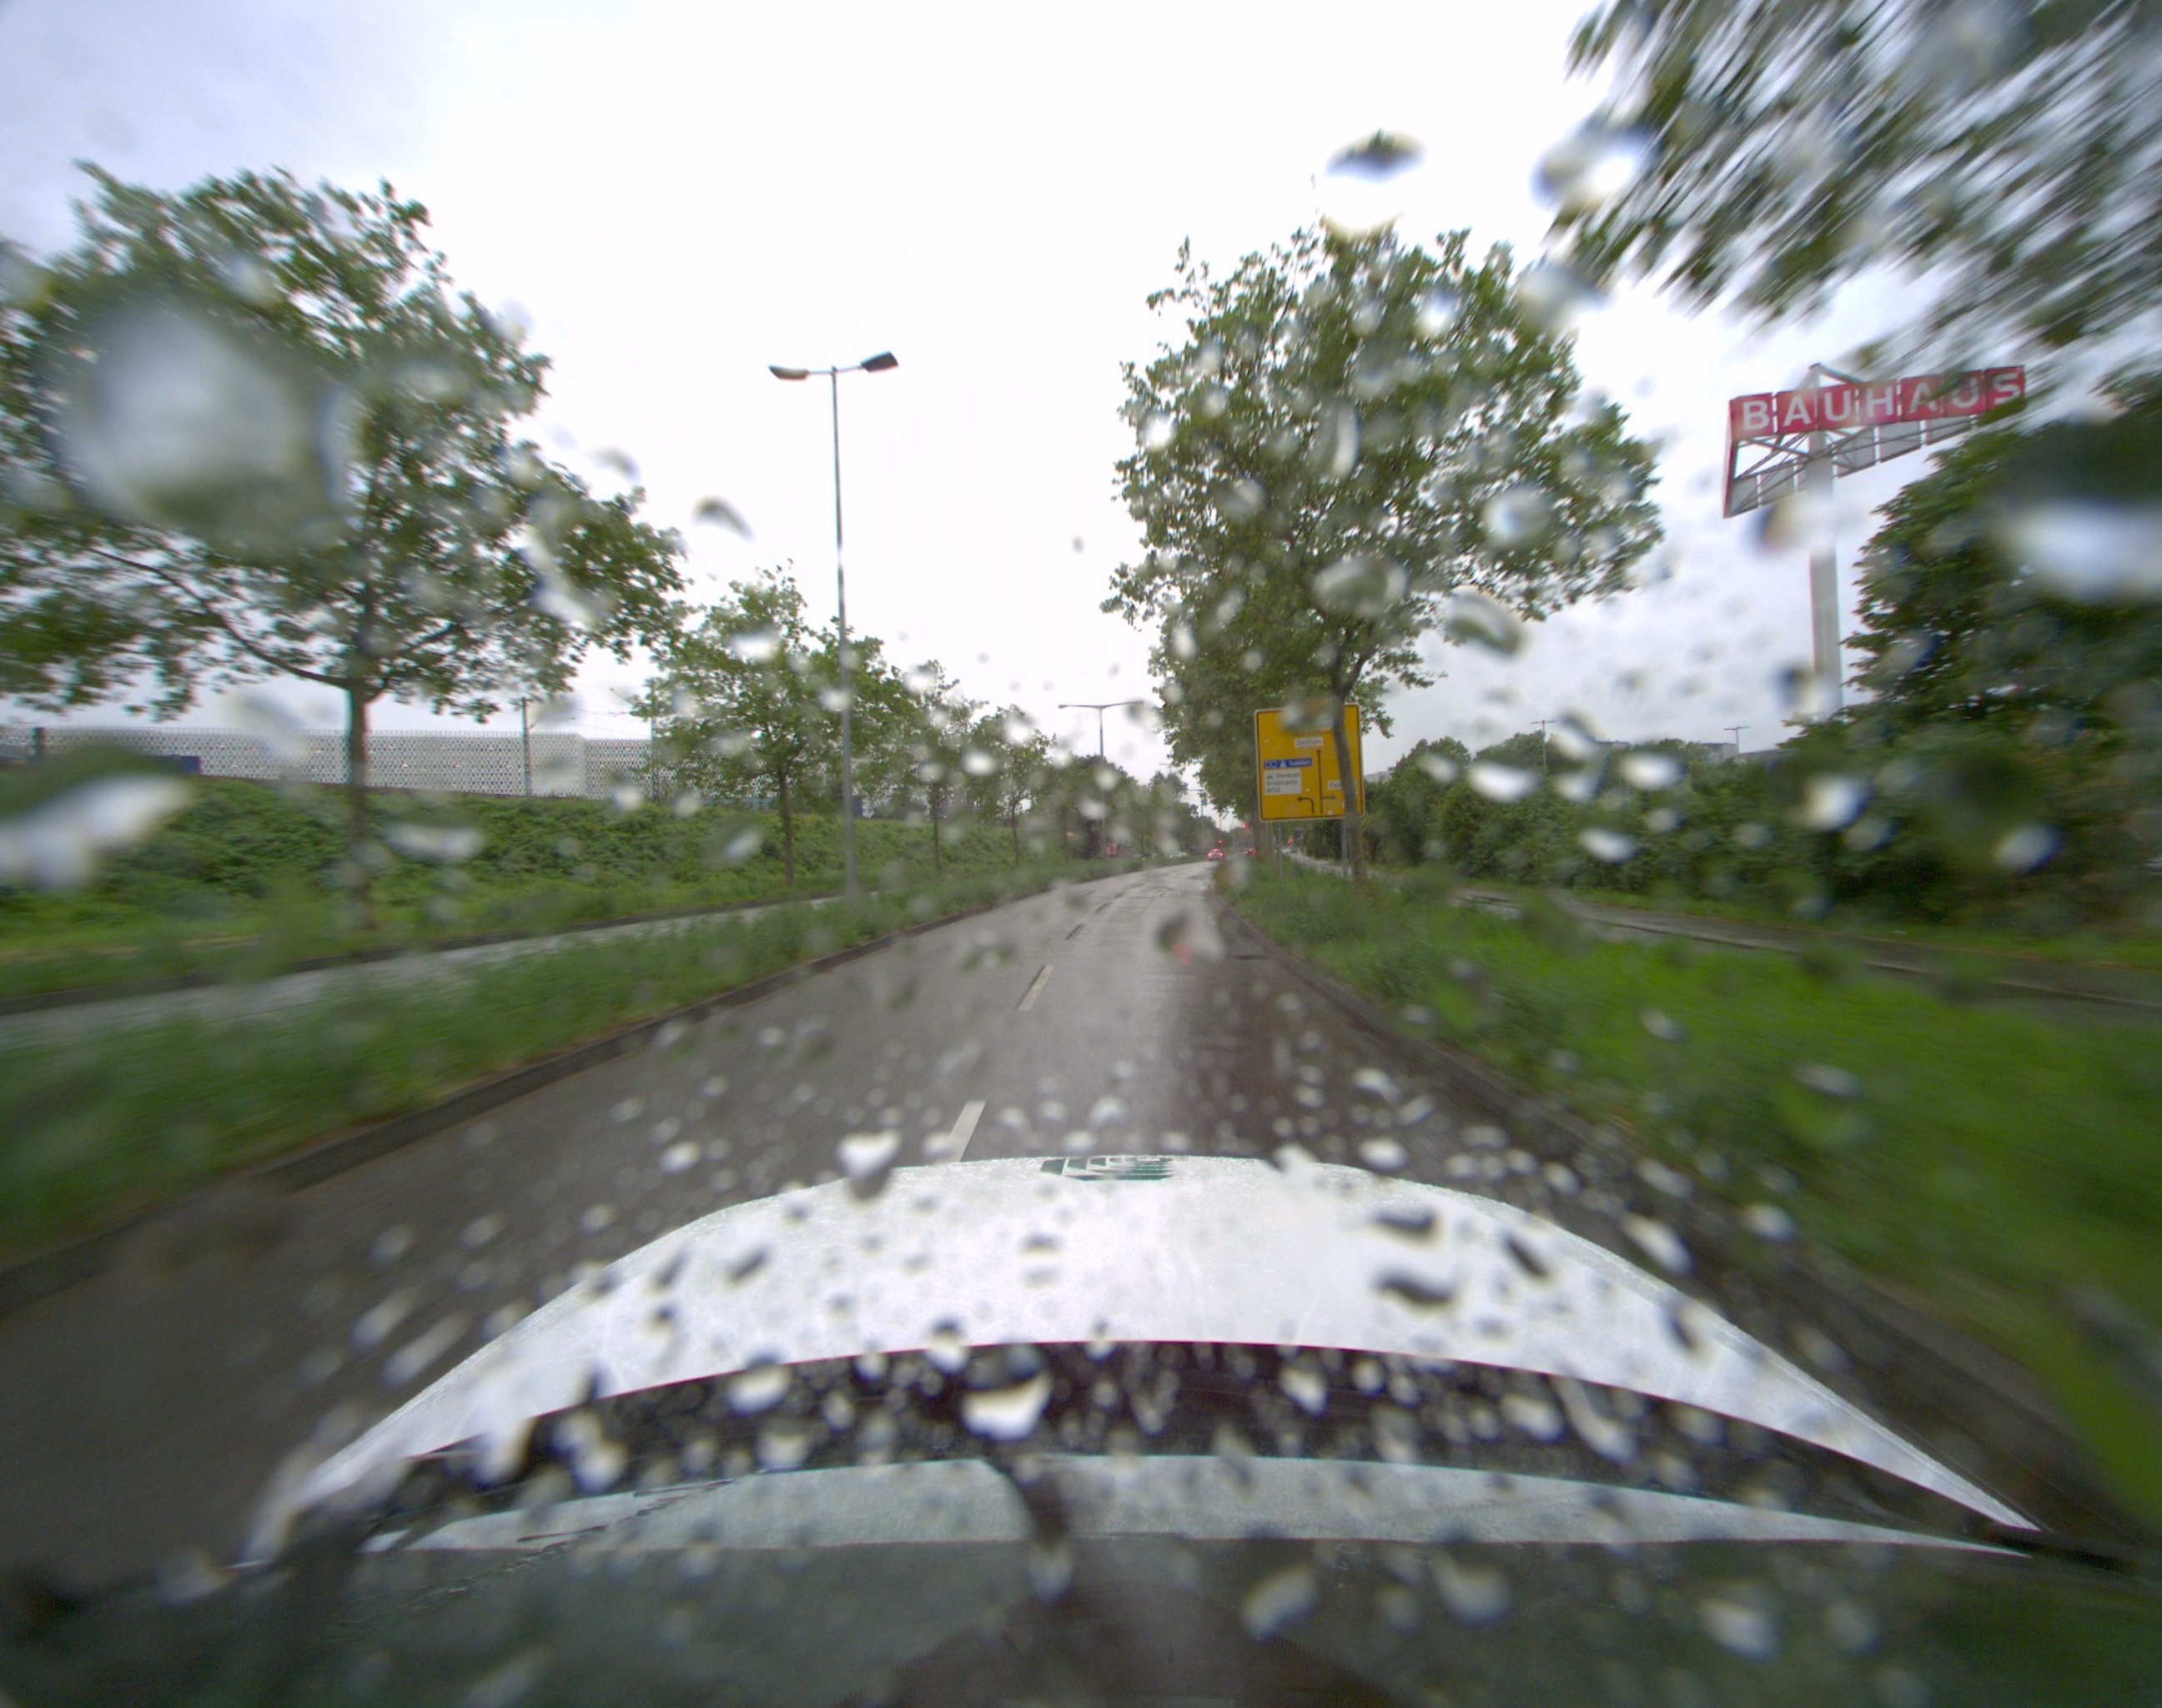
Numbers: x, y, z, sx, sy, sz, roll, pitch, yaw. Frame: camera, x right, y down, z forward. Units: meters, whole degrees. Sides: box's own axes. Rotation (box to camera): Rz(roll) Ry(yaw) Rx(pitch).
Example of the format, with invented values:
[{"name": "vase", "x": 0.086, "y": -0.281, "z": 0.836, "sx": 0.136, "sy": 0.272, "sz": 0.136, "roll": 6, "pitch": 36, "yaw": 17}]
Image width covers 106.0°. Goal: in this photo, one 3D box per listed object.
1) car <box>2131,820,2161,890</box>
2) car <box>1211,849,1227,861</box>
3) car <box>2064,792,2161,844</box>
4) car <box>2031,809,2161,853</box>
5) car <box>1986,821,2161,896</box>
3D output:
[{"name": "car", "x": 25.698, "y": -0.055, "z": 18.142, "sx": 4.299, "sy": 1.519, "sz": 1.742, "roll": -2, "pitch": 0, "yaw": -23}, {"name": "car", "x": 17.112, "y": 0.160, "z": 100.856, "sx": 1.678, "sy": 1.433, "sz": 4.591, "roll": -1, "pitch": 0, "yaw": 14}, {"name": "car", "x": 51.252, "y": -1.700, "z": 37.305, "sx": 2.587, "sy": 2.356, "sz": 7.524, "roll": -1, "pitch": 0, "yaw": -19}, {"name": "car", "x": 46.803, "y": -1.010, "z": 36.751, "sx": 1.997, "sy": 1.898, "sz": 4.729, "roll": -1, "pitch": 0, "yaw": -15}, {"name": "car", "x": 25.050, "y": 0.082, "z": 20.470, "sx": 4.299, "sy": 1.674, "sz": 1.742, "roll": -2, "pitch": 0, "yaw": -23}]
